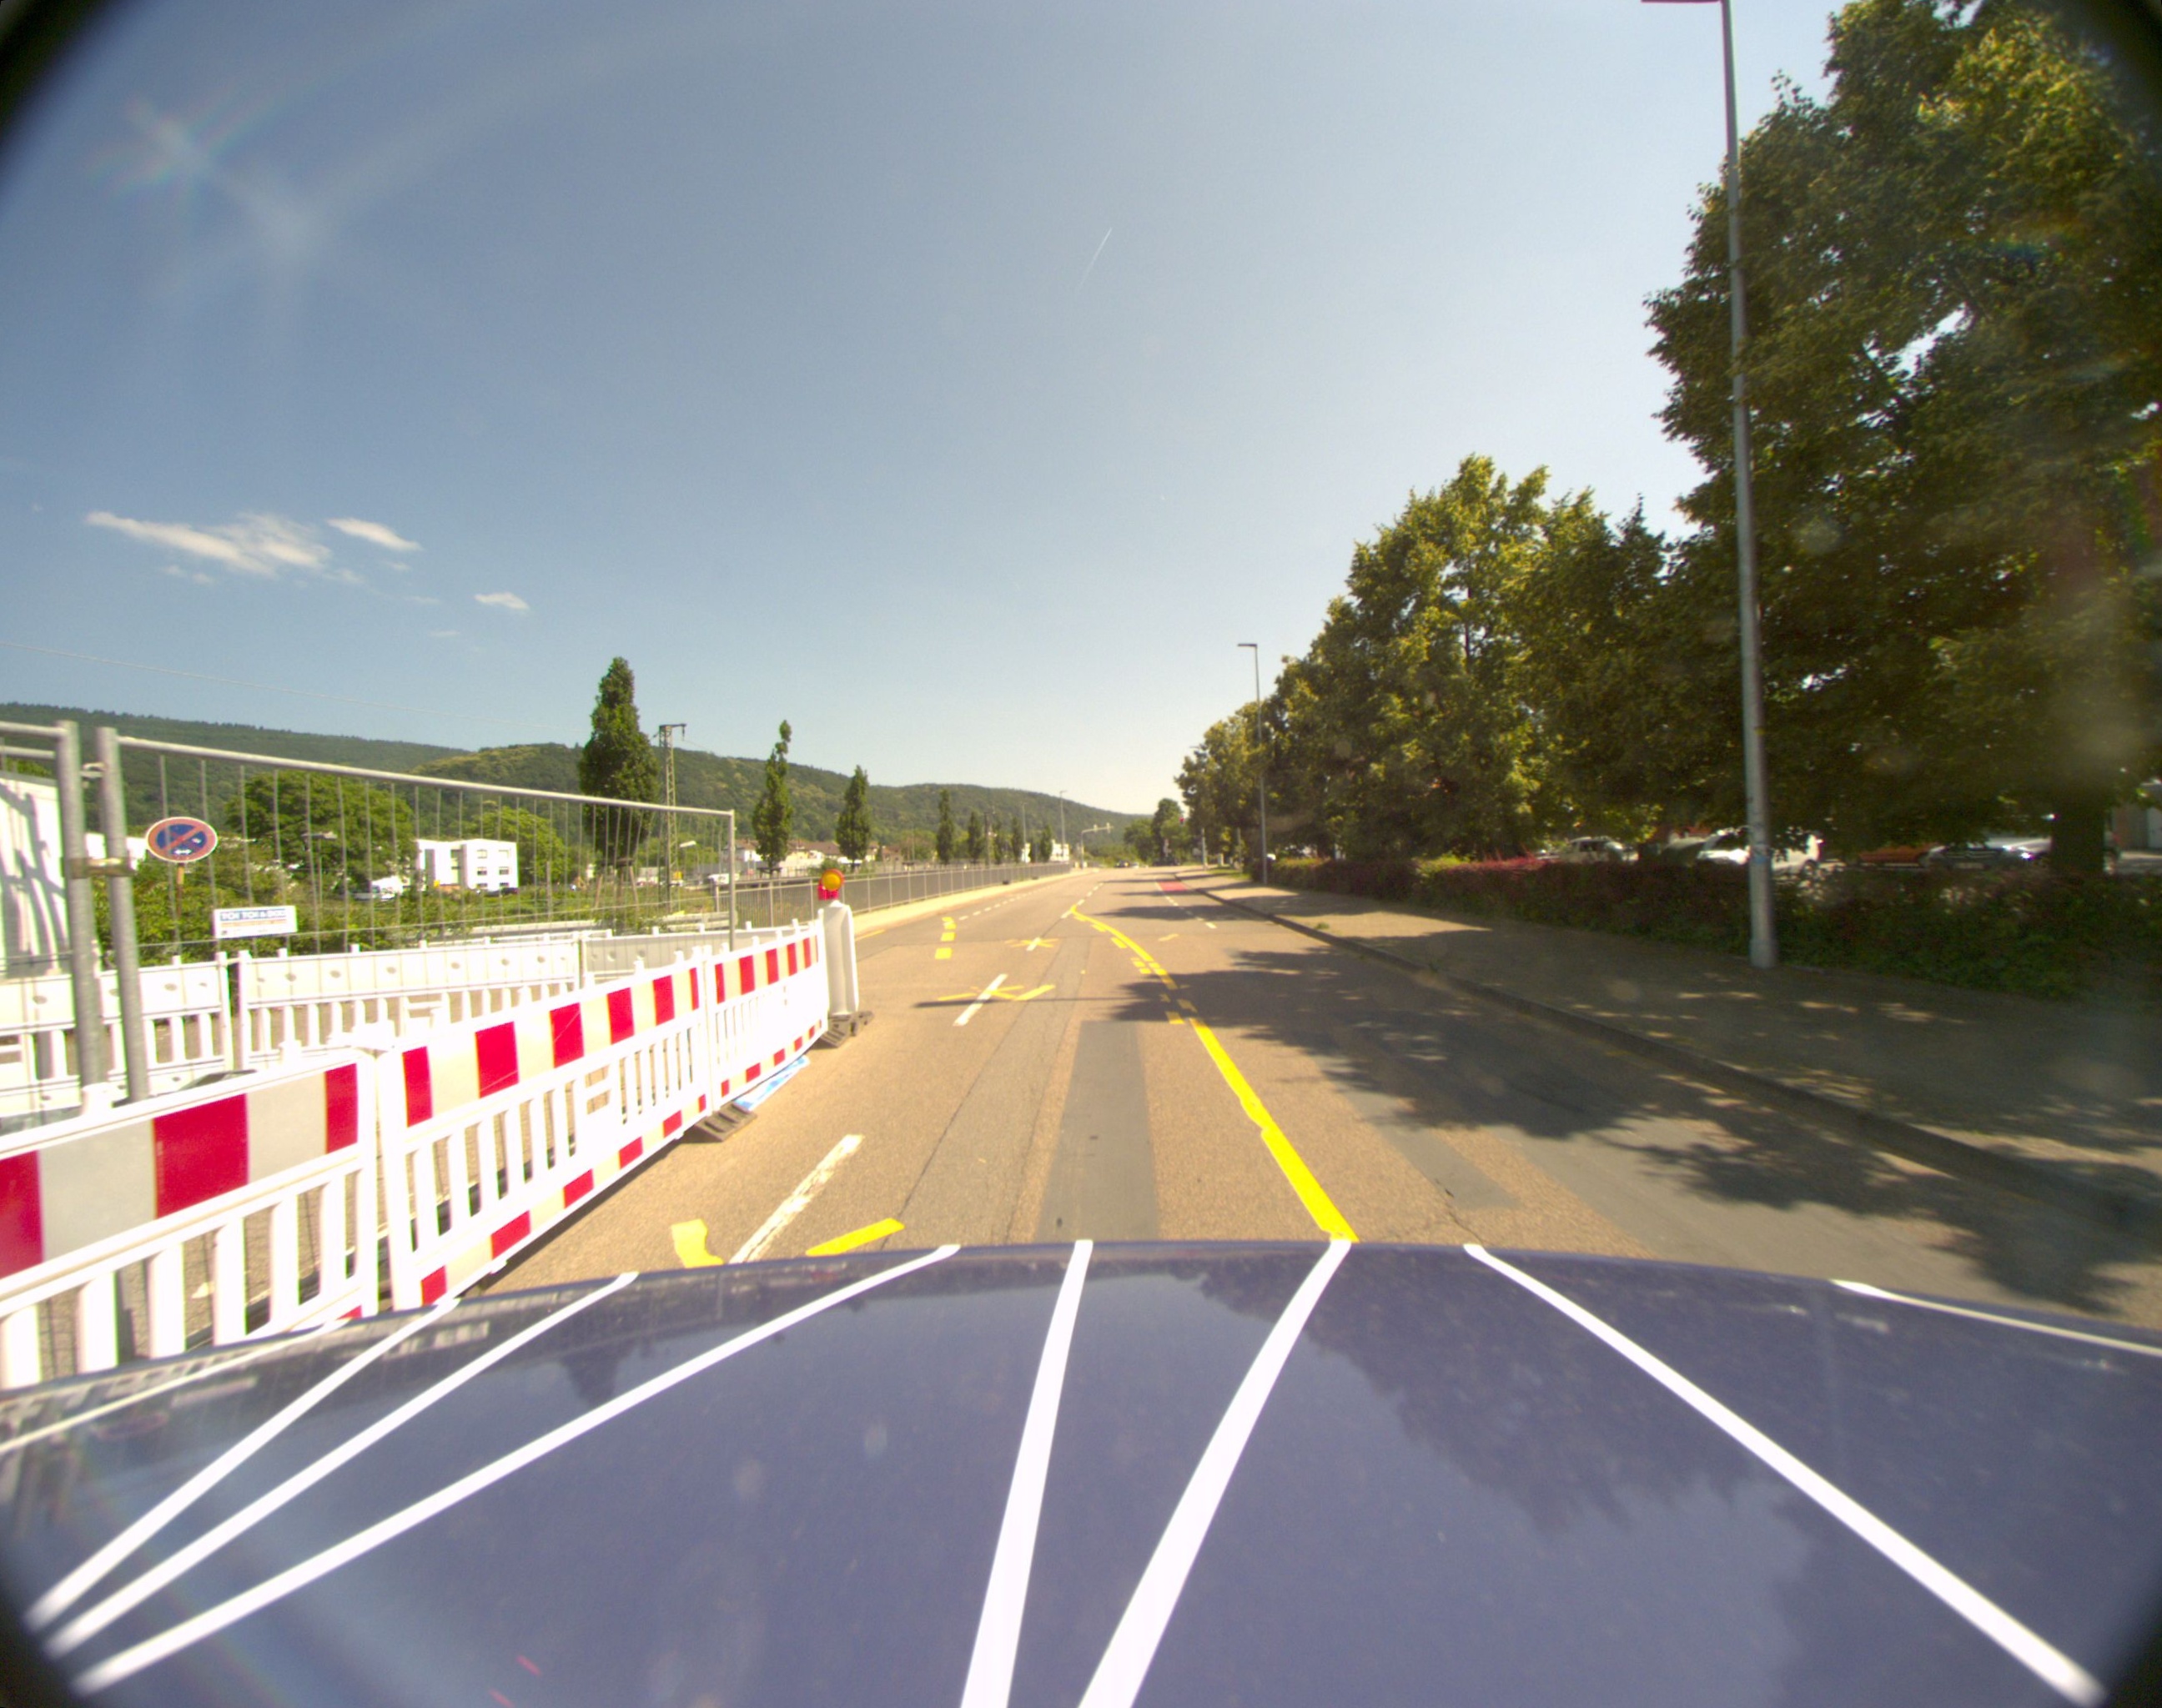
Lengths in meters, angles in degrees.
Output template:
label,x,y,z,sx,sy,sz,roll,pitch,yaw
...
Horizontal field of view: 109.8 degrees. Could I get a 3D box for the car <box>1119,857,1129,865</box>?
label,x,y,z,sx,sy,sz,roll,pitch,yaw
car,6.963,1.108,123.923,1.609,1.248,3.683,-2,0,2

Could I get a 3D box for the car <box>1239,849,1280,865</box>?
label,x,y,z,sx,sy,sz,roll,pitch,yaw
car,22.058,0.378,93.953,4.569,1.643,1.834,-2,3,34

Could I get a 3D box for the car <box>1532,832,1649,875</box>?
label,x,y,z,sx,sy,sz,roll,pitch,yaw
car,23.502,0.032,35.268,1.761,1.788,4.222,-3,0,-20

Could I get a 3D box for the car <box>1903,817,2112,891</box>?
label,x,y,z,sx,sy,sz,roll,pitch,yaw
car,23.528,-0.010,19.347,3.812,1.574,1.903,-3,0,-15

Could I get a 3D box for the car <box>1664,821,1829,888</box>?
label,x,y,z,sx,sy,sz,roll,pitch,yaw
car,20.756,0.015,23.721,4.356,1.816,1.747,-2,-1,-16

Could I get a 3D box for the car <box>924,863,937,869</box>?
label,x,y,z,sx,sy,sz,roll,pitch,yaw
car,-26.313,2.049,132.972,2.377,0.897,0.576,-3,3,31

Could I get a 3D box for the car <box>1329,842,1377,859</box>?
label,x,y,z,sx,sy,sz,roll,pitch,yaw
car,31.323,-0.360,87.556,4.755,1.643,1.834,-2,3,35

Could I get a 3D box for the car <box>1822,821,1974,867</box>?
label,x,y,z,sx,sy,sz,roll,pitch,yaw
car,32.134,-0.350,30.044,1.669,1.622,3.721,-3,0,-11

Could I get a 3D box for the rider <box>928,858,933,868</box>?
label,x,y,z,sx,sy,sz,roll,pitch,yaw
rider,-26.324,1.565,132.925,0.684,1.804,0.548,-2,4,31

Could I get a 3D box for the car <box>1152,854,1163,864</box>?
label,x,y,z,sx,sy,sz,roll,pitch,yaw
car,13.101,0.829,130.974,1.609,1.527,3.683,-2,0,2

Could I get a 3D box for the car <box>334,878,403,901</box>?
label,x,y,z,sx,sy,sz,roll,pitch,yaw
car,-85.193,4.266,90.999,2.132,2.090,5.523,-7,0,14

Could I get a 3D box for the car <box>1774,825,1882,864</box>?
label,x,y,z,sx,sy,sz,roll,pitch,yaw
car,33.286,-0.406,33.893,3.613,1.523,1.619,-3,0,-10

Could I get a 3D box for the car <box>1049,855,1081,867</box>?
label,x,y,z,sx,sy,sz,roll,pitch,yaw
car,-2.450,1.060,115.080,4.359,1.618,1.834,-3,3,31

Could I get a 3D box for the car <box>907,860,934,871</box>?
label,x,y,z,sx,sy,sz,roll,pitch,yaw
car,-27.461,2.031,130.168,4.359,1.618,1.834,-2,3,31

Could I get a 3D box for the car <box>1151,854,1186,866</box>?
label,x,y,z,sx,sy,sz,roll,pitch,yaw
car,12.291,0.813,106.705,4.359,1.338,1.834,-3,3,31

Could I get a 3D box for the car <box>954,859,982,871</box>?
label,x,y,z,sx,sy,sz,roll,pitch,yaw
car,-18.600,1.806,124.941,4.359,1.618,1.834,-3,3,31
